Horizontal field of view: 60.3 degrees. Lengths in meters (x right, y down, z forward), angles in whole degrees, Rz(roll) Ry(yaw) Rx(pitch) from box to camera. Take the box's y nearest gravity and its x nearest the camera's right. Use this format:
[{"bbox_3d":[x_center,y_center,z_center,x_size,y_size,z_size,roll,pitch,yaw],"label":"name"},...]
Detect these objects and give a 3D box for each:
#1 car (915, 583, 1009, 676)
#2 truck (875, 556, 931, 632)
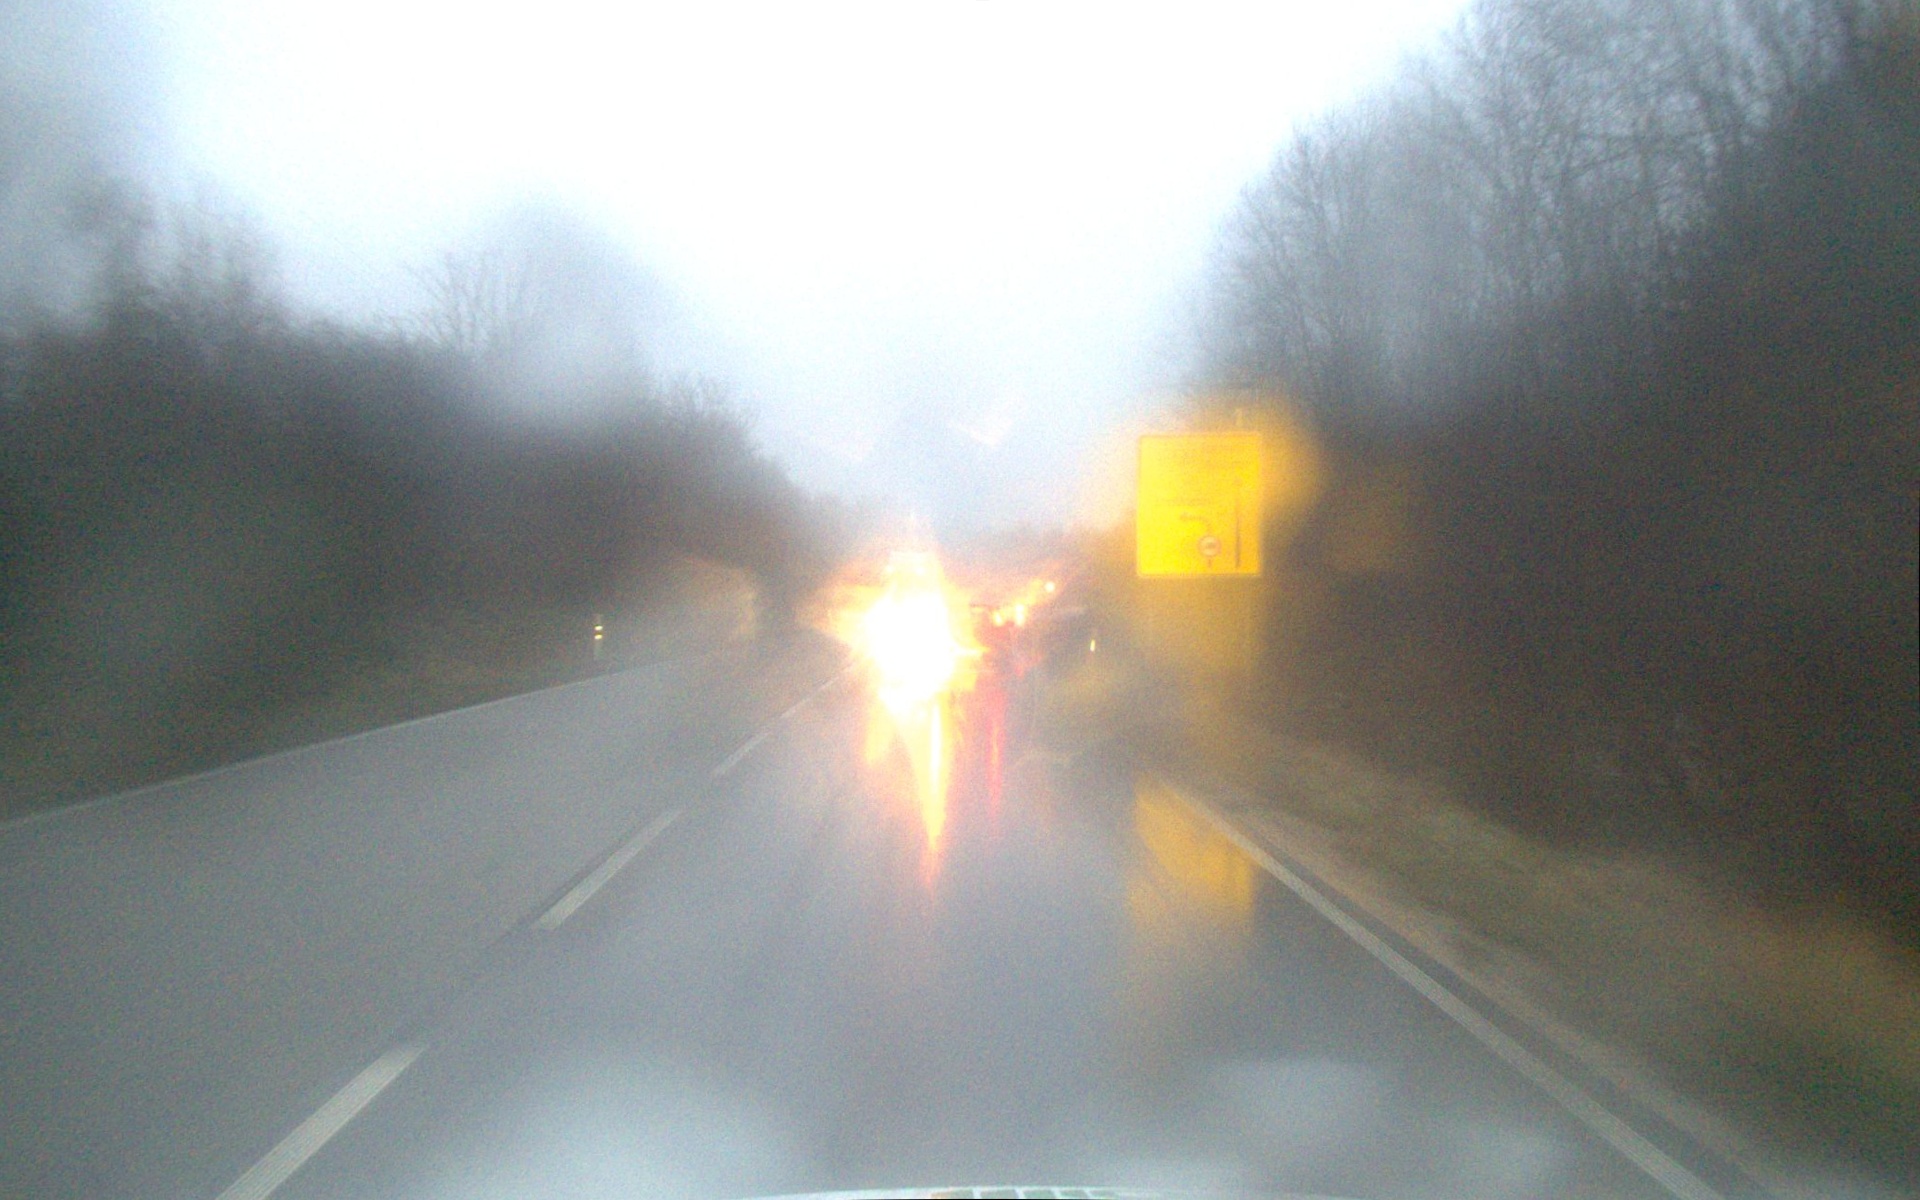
[{"bbox_3d":[0.007,0.519,31.728,1.692,1.672,3.999,0,0,-1],"label":"car"},{"bbox_3d":[-3.221,-0.341,94.617,2.741,4.199,7.201,0,0,2],"label":"truck"}]
